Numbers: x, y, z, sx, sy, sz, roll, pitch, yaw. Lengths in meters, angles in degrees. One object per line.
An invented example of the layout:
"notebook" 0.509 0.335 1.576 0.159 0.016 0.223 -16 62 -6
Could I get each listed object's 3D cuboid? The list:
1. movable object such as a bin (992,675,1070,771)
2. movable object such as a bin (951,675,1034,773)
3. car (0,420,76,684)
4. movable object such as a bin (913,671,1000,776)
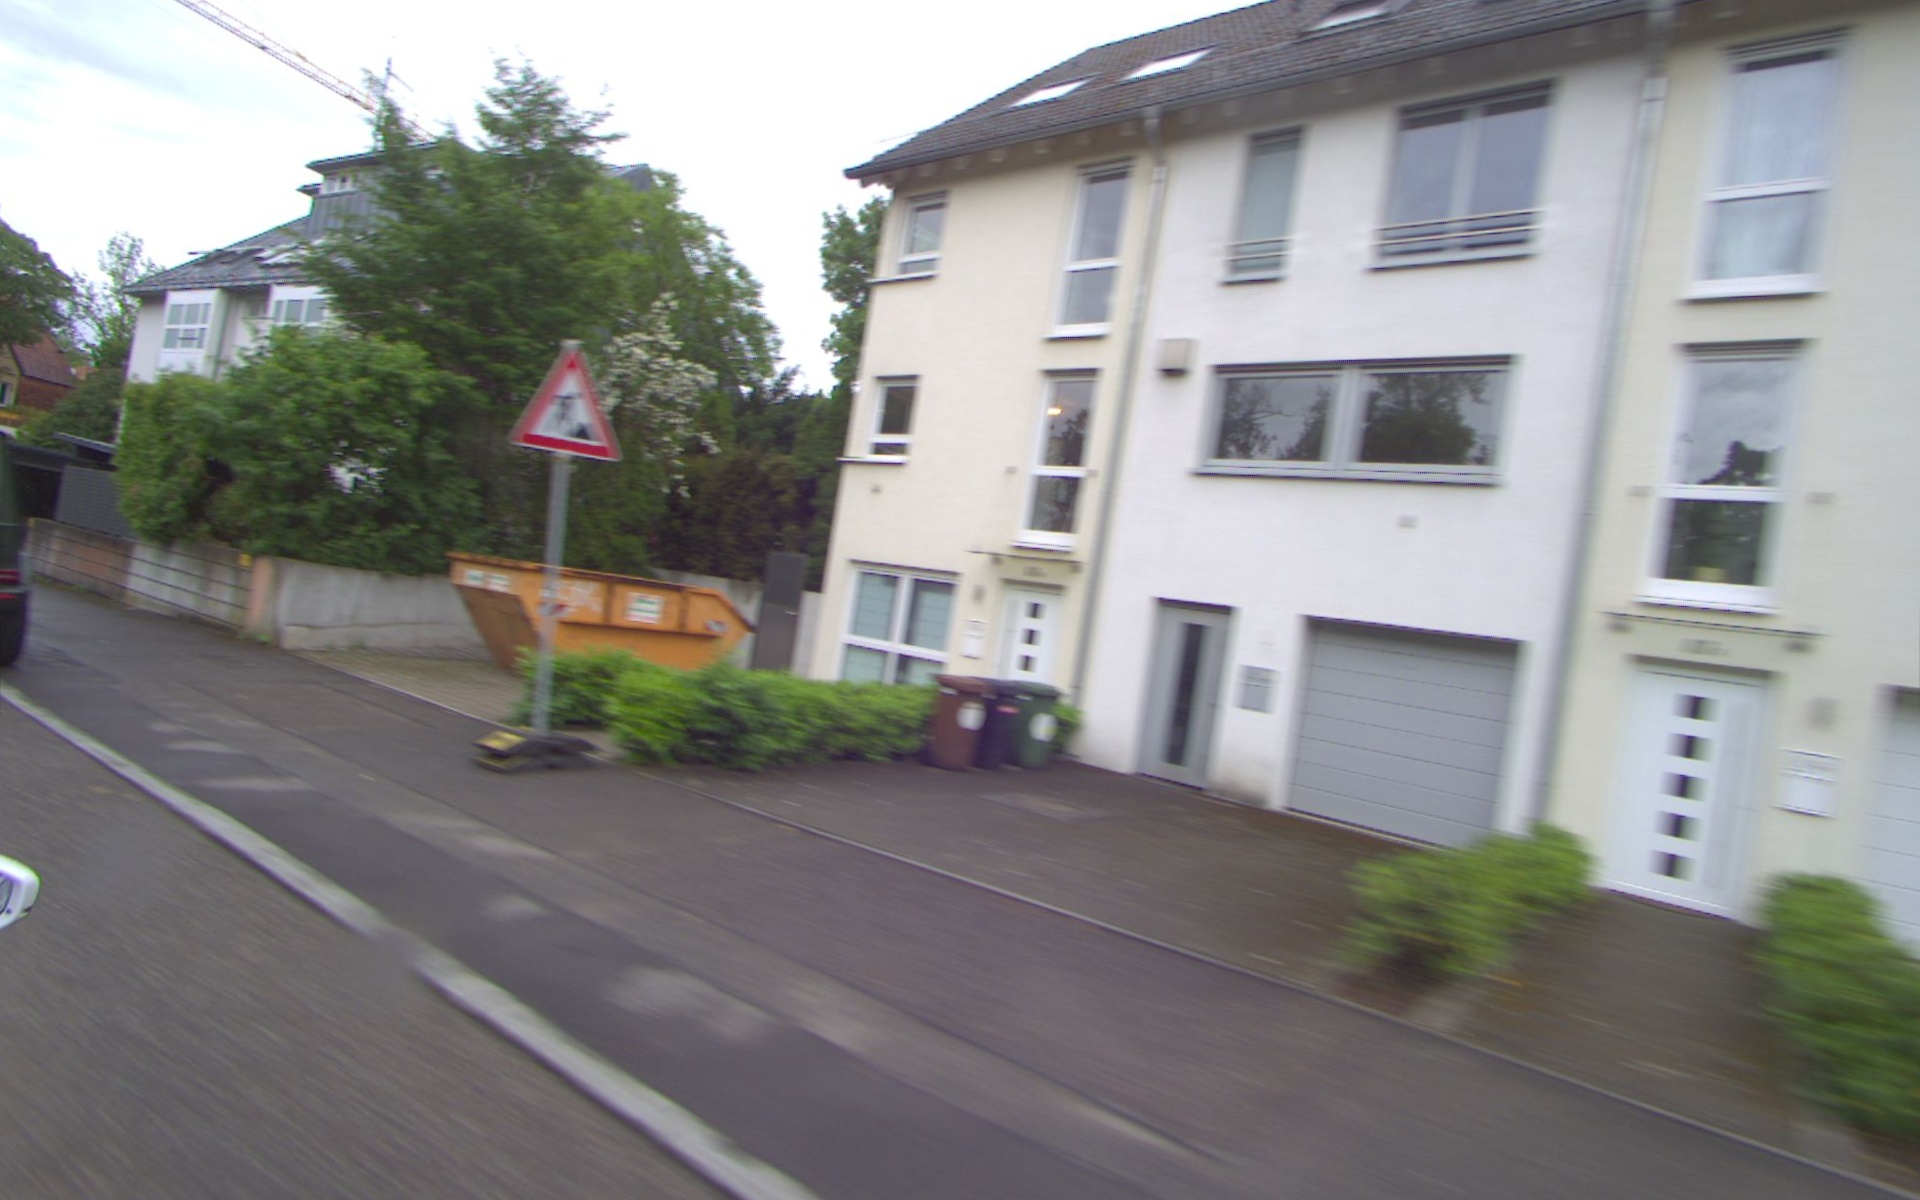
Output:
"movable object such as a bin" 0.796 1.363 11.248 0.586 0.966 0.507 7 -1 35
"movable object such as a bin" 0.343 1.299 10.592 0.586 0.922 0.507 7 -1 35
"car" -9.773 -0.629 8.641 4.877 2.039 1.994 6 0 34
"movable object such as a bin" -0.034 1.234 10.117 0.586 0.952 0.507 7 -1 35
